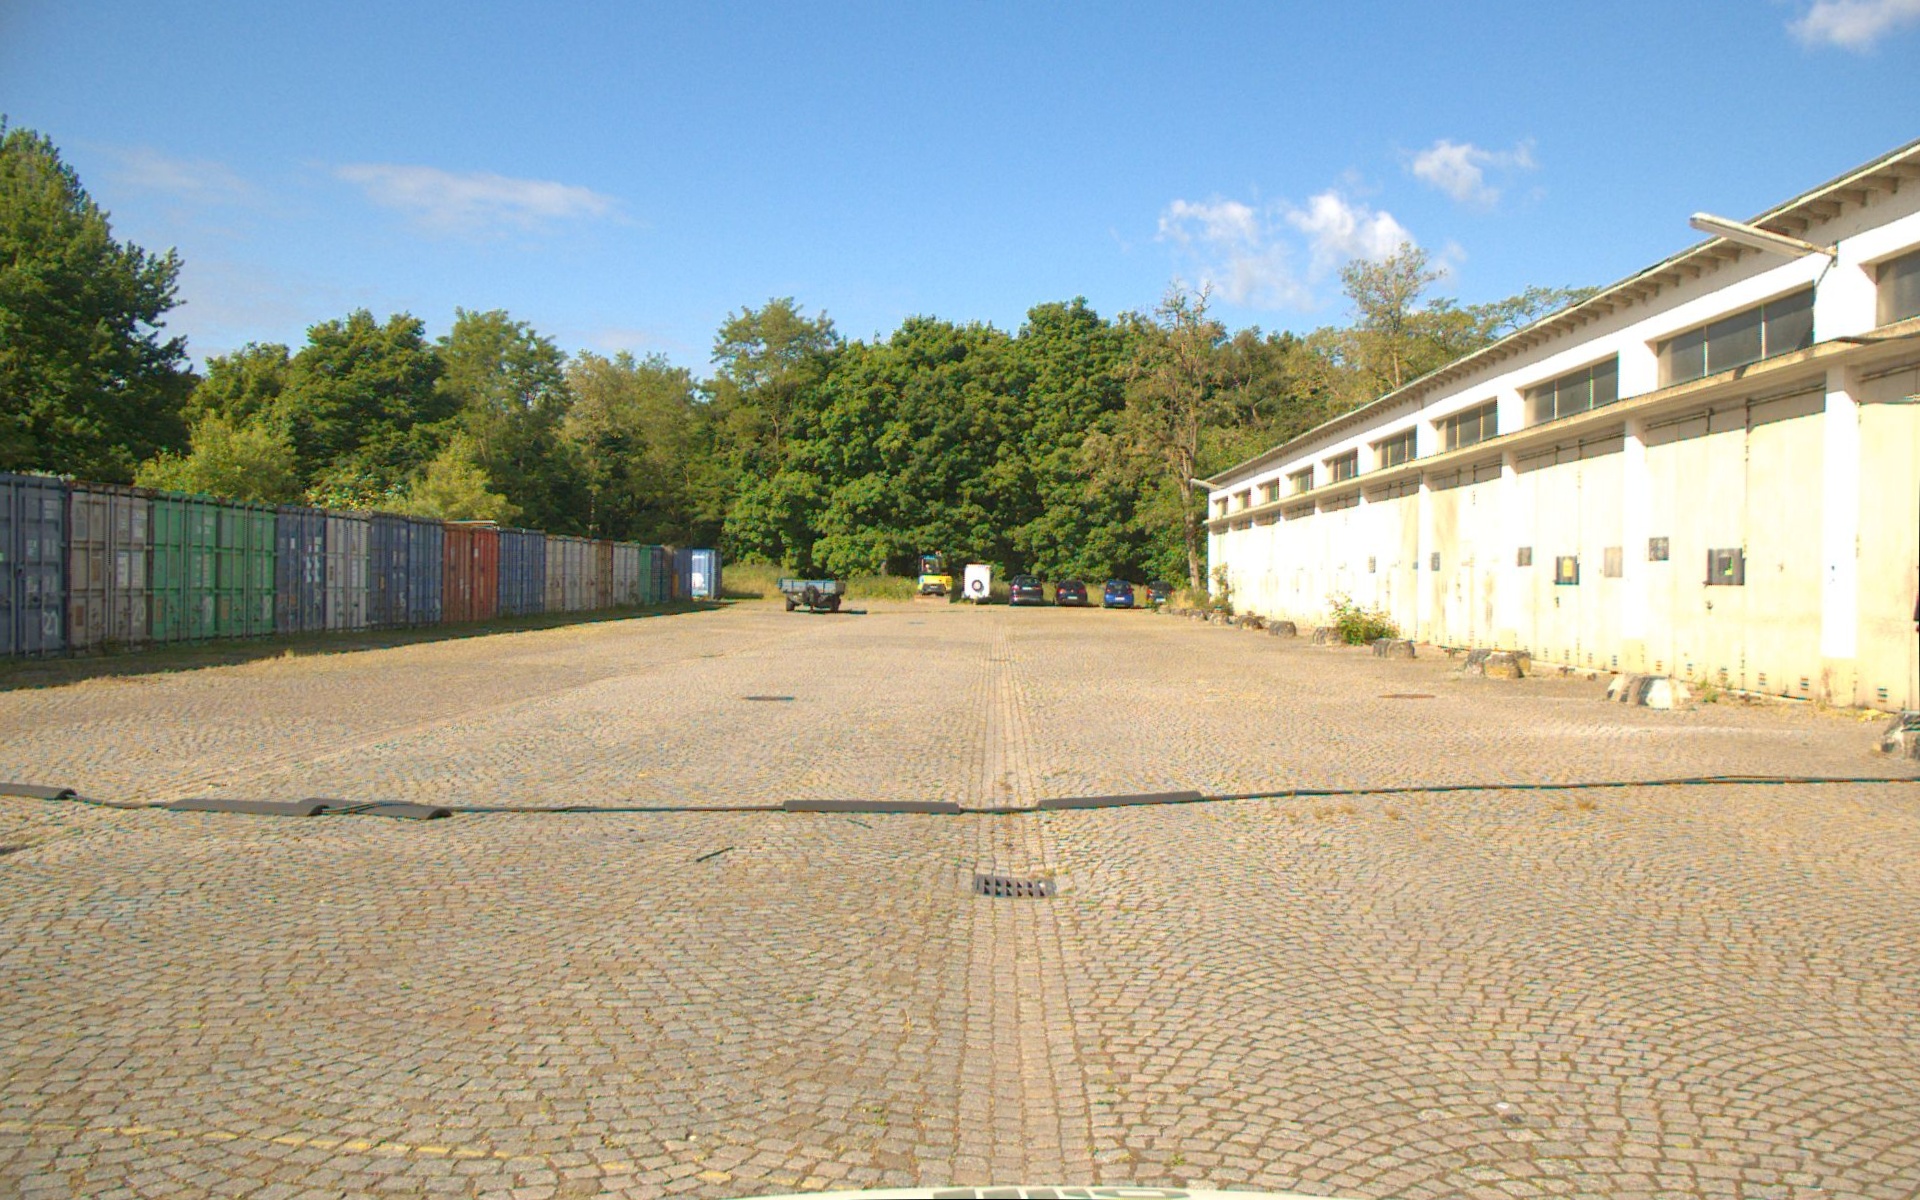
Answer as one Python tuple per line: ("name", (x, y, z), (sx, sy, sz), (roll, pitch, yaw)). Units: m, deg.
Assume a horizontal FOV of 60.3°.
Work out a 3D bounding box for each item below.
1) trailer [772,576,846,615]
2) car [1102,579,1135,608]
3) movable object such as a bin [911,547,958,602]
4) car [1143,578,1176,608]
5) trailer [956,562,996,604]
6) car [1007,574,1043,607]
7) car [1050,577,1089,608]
("trailer", (-6.548, -0.223, 72.607), (2.650, 1.491, 6.248), (2, 1, 0))
("car", (8.673, -0.372, 90.375), (1.707, 1.461, 4.186), (2, 2, 6))
("movable object such as a bin", (-1.393, -1.494, 93.200), (2.258, 2.947, 5.753), (2, 2, 2))
("car", (11.104, -0.407, 91.743), (1.707, 1.461, 4.187), (2, 2, 8))
("trailer", (0.921, -0.991, 92.573), (2.148, 2.131, 5.752), (2, 2, 1))
("car", (3.519, -0.555, 90.153), (1.825, 1.616, 4.297), (2, 2, 1))
("car", (5.964, -0.444, 90.481), (1.825, 1.495, 4.297), (2, 2, 1))
